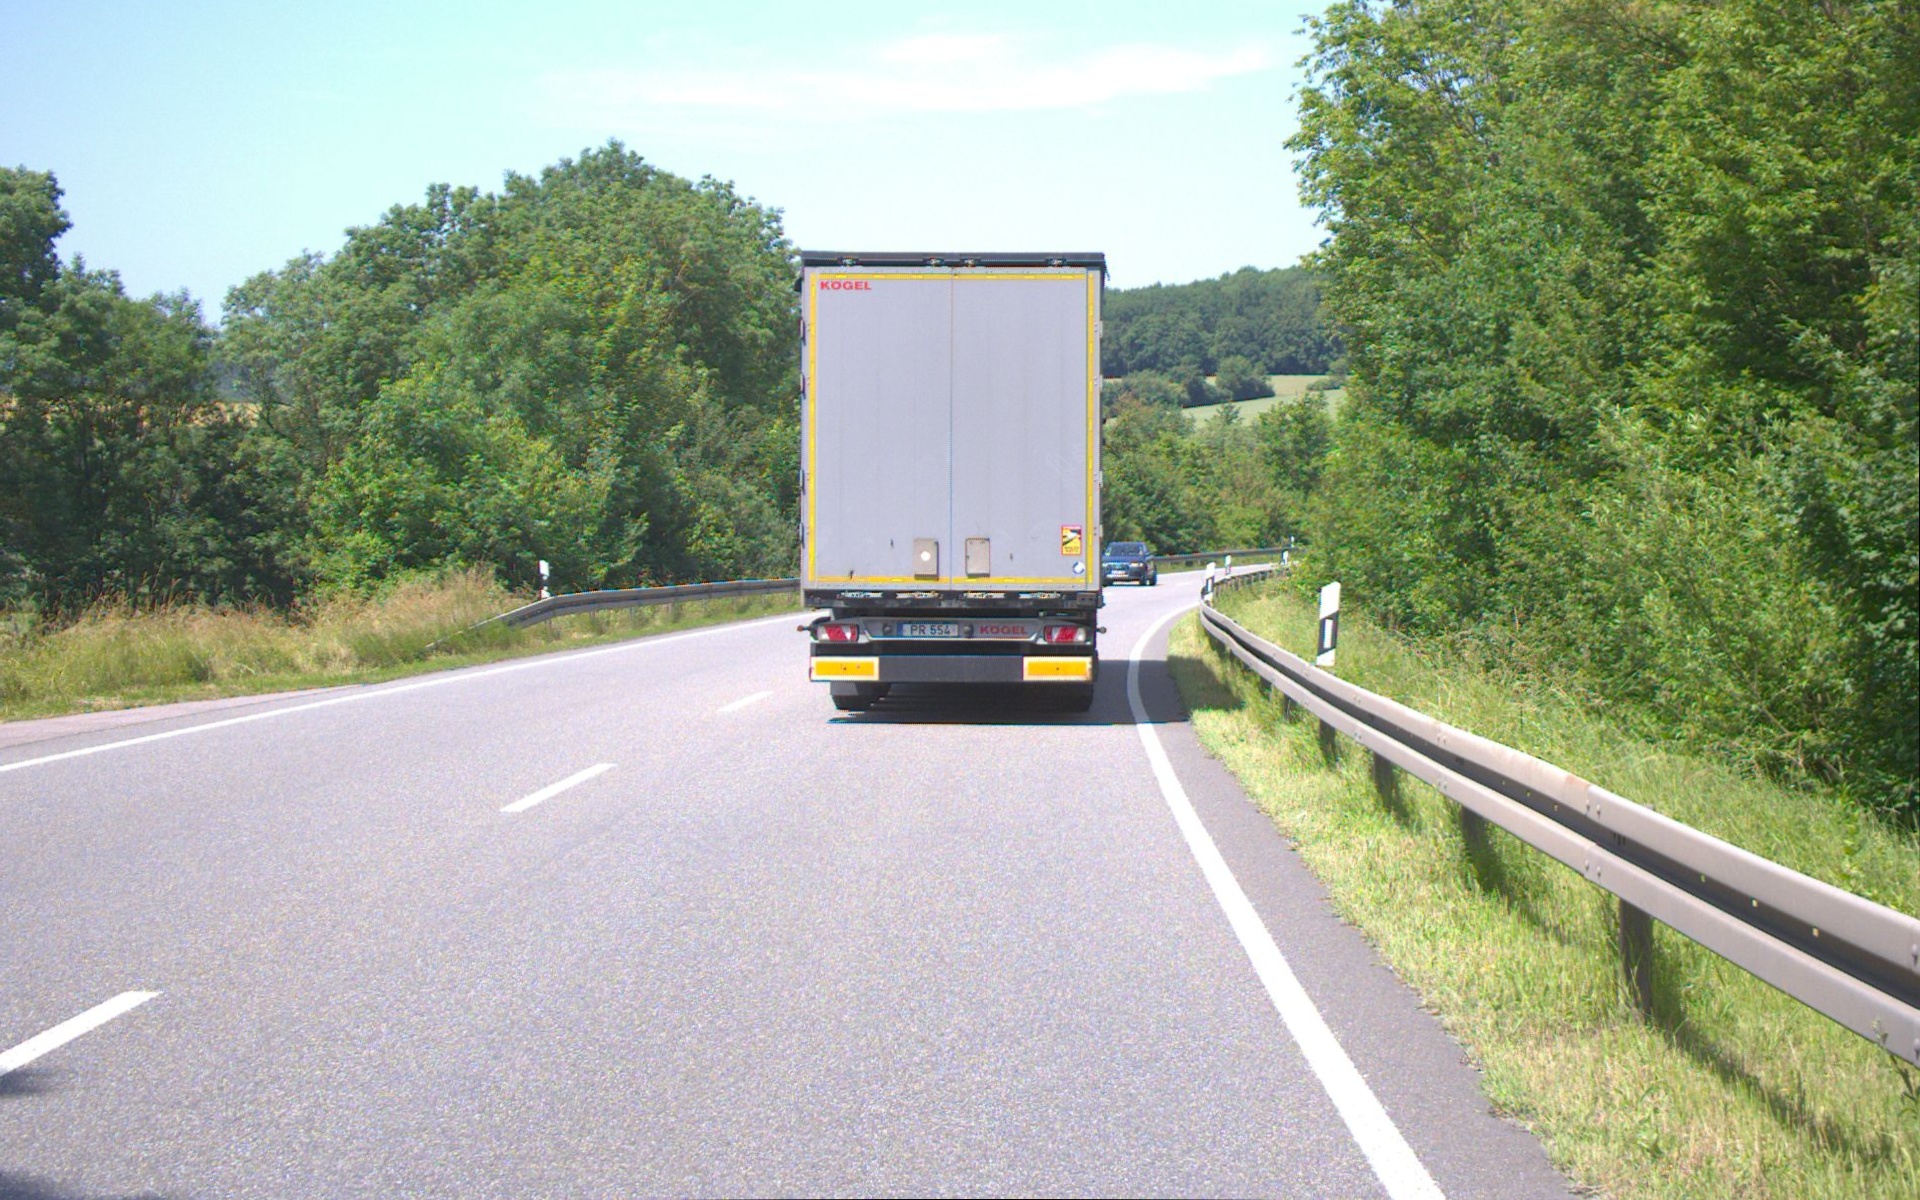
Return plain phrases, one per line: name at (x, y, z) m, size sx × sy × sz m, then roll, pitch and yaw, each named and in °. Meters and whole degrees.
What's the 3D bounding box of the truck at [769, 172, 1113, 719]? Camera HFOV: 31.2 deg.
truck at (-0.133, -1.383, 34.476) m, size 2.817 × 4.517 × 11.768 m, roll 1°, pitch 1°, yaw 0°
